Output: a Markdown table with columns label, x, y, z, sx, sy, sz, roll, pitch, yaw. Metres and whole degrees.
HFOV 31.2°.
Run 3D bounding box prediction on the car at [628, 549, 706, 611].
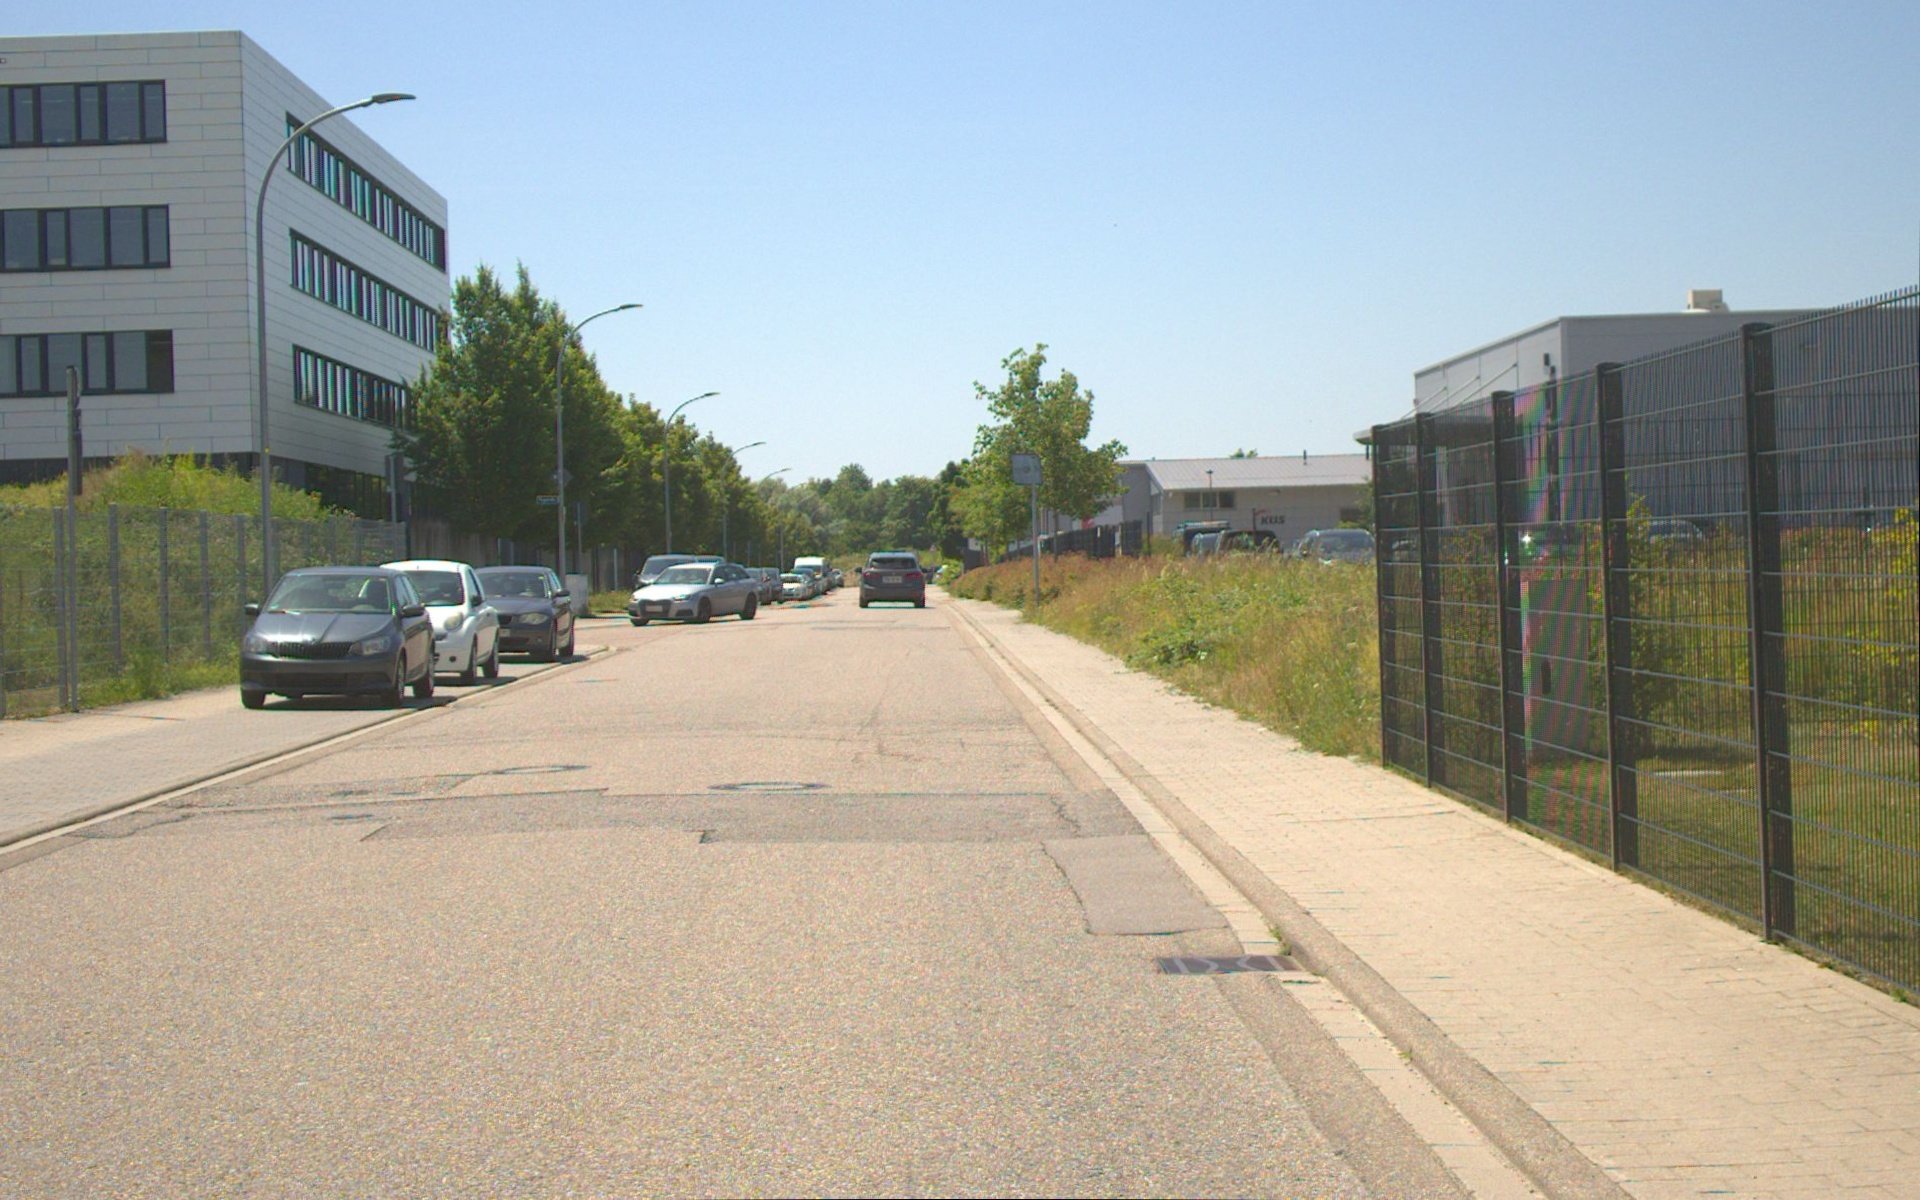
| label | x | y | z | sx | sy | sz | roll | pitch | yaw |
| --- | --- | --- | --- | --- | --- | --- | --- | --- | --- |
| car | -7.842 | -0.534 | 92.457 | 1.771 | 1.582 | 4.481 | -1 | 0 | -1 |

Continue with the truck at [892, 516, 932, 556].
| label | x | y | z | sx | sy | sz | roll | pitch | yaw |
| --- | --- | --- | --- | --- | --- | --- | --- | --- | --- |
| truck | -3.665 | -4.851 | 262.790 | 2.933 | 2.964 | 6.419 | 1 | 0 | -1 |

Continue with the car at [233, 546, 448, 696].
| label | x | y | z | sx | sy | sz | roll | pitch | yaw |
| --- | --- | --- | --- | --- | --- | --- | --- | --- | --- |
| car | -6.651 | 0.202 | 37.248 | 1.674 | 1.525 | 3.910 | 0 | 0 | -1 |

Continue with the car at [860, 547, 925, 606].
| label | x | y | z | sx | sy | sz | roll | pitch | yaw |
| --- | --- | --- | --- | --- | --- | --- | --- | --- | --- |
| car | -1.905 | -0.664 | 97.245 | 1.789 | 1.618 | 3.809 | 1 | 0 | -1 |

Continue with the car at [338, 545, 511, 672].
| label | x | y | z | sx | sy | sz | roll | pitch | yaw |
| --- | --- | --- | --- | --- | --- | --- | --- | --- | --- |
| car | -6.752 | 0.090 | 43.652 | 1.674 | 1.525 | 3.758 | -1 | 0 | -1 |

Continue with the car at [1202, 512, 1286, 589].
| label | x | y | z | sx | sy | sz | roll | pitch | yaw |
| --- | --- | --- | --- | --- | --- | --- | --- | --- | --- |
| car | 6.010 | -1.041 | 72.971 | 1.466 | 1.568 | 2.662 | -2 | 0 | -1 |

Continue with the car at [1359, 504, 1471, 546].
| label | x | y | z | sx | sy | sz | roll | pitch | yaw |
| --- | --- | --- | --- | --- | --- | --- | --- | --- | --- |
| car | 16.771 | -2.757 | 126.851 | 3.873 | 1.398 | 1.767 | -2 | 0 | 2 |

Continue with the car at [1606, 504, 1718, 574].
| label | x | y | z | sx | sy | sz | roll | pitch | yaw |
| --- | --- | --- | --- | --- | --- | --- | --- | --- | --- |
| car | 15.014 | -1.288 | 73.716 | 1.514 | 1.392 | 3.541 | -2 | 0 | -2 |

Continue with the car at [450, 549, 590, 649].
| label | x | y | z | sx | sy | sz | roll | pitch | yaw |
| --- | --- | --- | --- | --- | --- | --- | --- | --- | --- |
| car | -6.680 | -0.025 | 52.505 | 1.674 | 1.445 | 4.069 | -1 | 0 | -1 |

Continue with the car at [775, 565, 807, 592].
| label | x | y | z | sx | sy | sz | roll | pitch | yaw |
| --- | --- | --- | --- | --- | --- | --- | --- | --- | --- |
| car | -9.350 | -1.207 | 190.203 | 1.720 | 1.471 | 3.858 | -1 | 0 | -3 |

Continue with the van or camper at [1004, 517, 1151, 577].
| label | x | y | z | sx | sy | sz | roll | pitch | yaw |
| --- | --- | --- | --- | --- | --- | --- | --- | --- | --- |
| van or camper | 5.539 | -2.507 | 163.110 | 6.756 | 2.576 | 2.636 | -2 | 0 | -1 |

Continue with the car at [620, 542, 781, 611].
| label | x | y | z | sx | sy | sz | roll | pitch | yaw |
| --- | --- | --- | --- | --- | --- | --- | --- | --- | --- |
| car | -6.197 | -0.570 | 82.431 | 1.774 | 1.582 | 4.069 | -1 | 0 | 32 |
